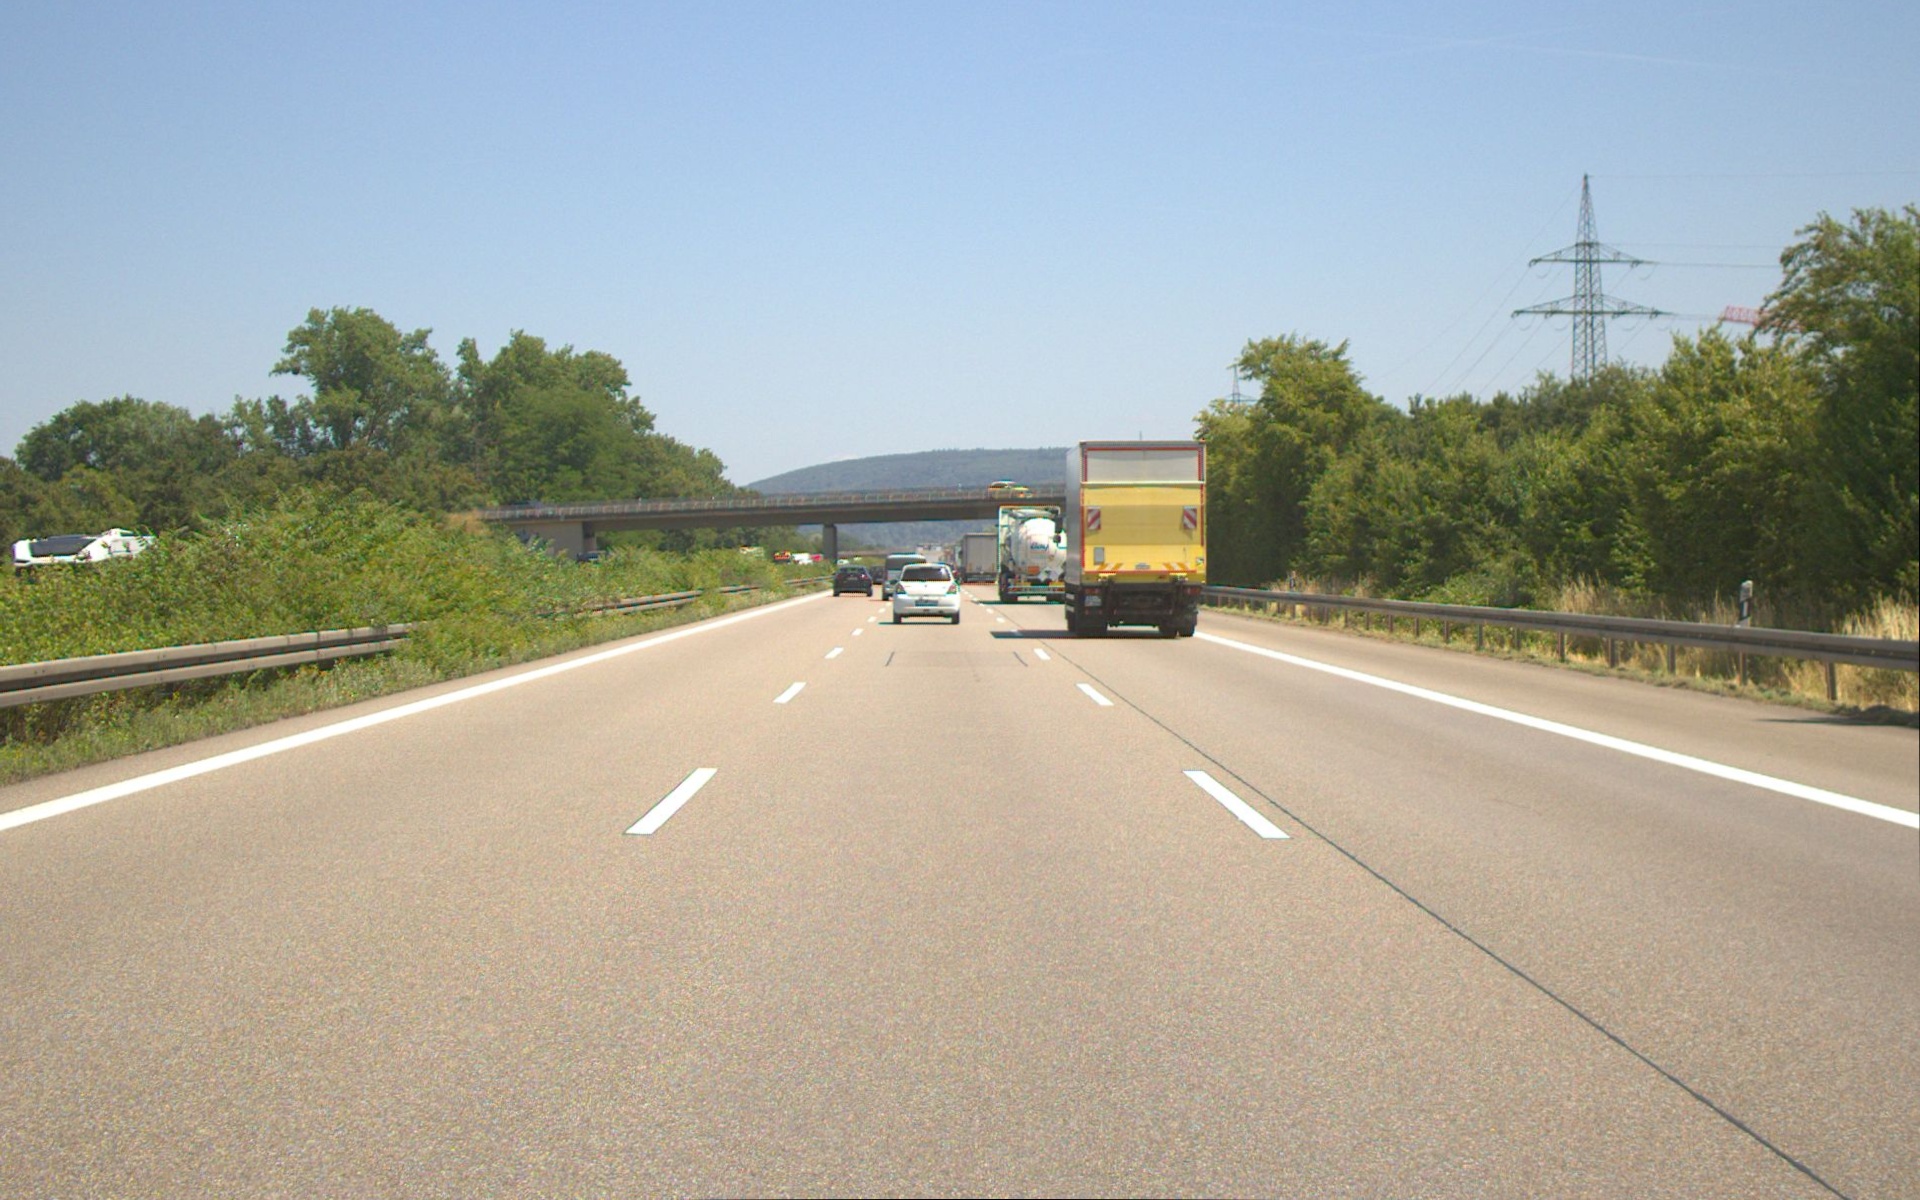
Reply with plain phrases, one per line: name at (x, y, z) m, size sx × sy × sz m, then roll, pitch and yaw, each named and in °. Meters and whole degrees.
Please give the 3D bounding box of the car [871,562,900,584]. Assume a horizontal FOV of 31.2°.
car at (-4.943, -1.803, 228.679) m, size 1.835 × 1.382 × 4.000 m, roll 1°, pitch 1°, yaw 0°

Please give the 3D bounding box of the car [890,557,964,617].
car at (-0.831, -0.346, 87.429) m, size 1.806 × 1.463 × 4.000 m, roll 1°, pitch 1°, yaw 0°

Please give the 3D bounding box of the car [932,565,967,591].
car at (-0.570, -1.199, 186.325) m, size 1.835 × 1.382 × 4.000 m, roll 1°, pitch 1°, yaw 0°

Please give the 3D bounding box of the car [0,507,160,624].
car at (-21.269, -0.846, 83.358) m, size 2.470 × 2.699 × 5.519 m, roll 1°, pitch 1°, yaw -1°

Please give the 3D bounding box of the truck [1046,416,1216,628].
truck at (3.550, -1.612, 74.121) m, size 2.933 × 4.185 × 10.682 m, roll 1°, pitch 1°, yaw -1°

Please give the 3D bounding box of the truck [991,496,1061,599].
truck at (2.663, -2.132, 139.967) m, size 2.573 × 4.058 × 6.393 m, roll 1°, pitch 1°, yaw -1°

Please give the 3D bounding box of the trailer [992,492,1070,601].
trailer at (2.739, -2.077, 135.126) m, size 2.580 × 4.060 × 11.104 m, roll 1°, pitch 1°, yaw -1°

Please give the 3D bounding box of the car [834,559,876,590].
car at (-4.845, -1.169, 158.858) m, size 1.835 × 1.382 × 4.000 m, roll 1°, pitch 1°, yaw 0°

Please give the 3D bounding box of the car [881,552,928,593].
car at (-2.289, -1.133, 141.456) m, size 1.852 × 1.627 × 4.000 m, roll 1°, pitch 1°, yaw 0°
